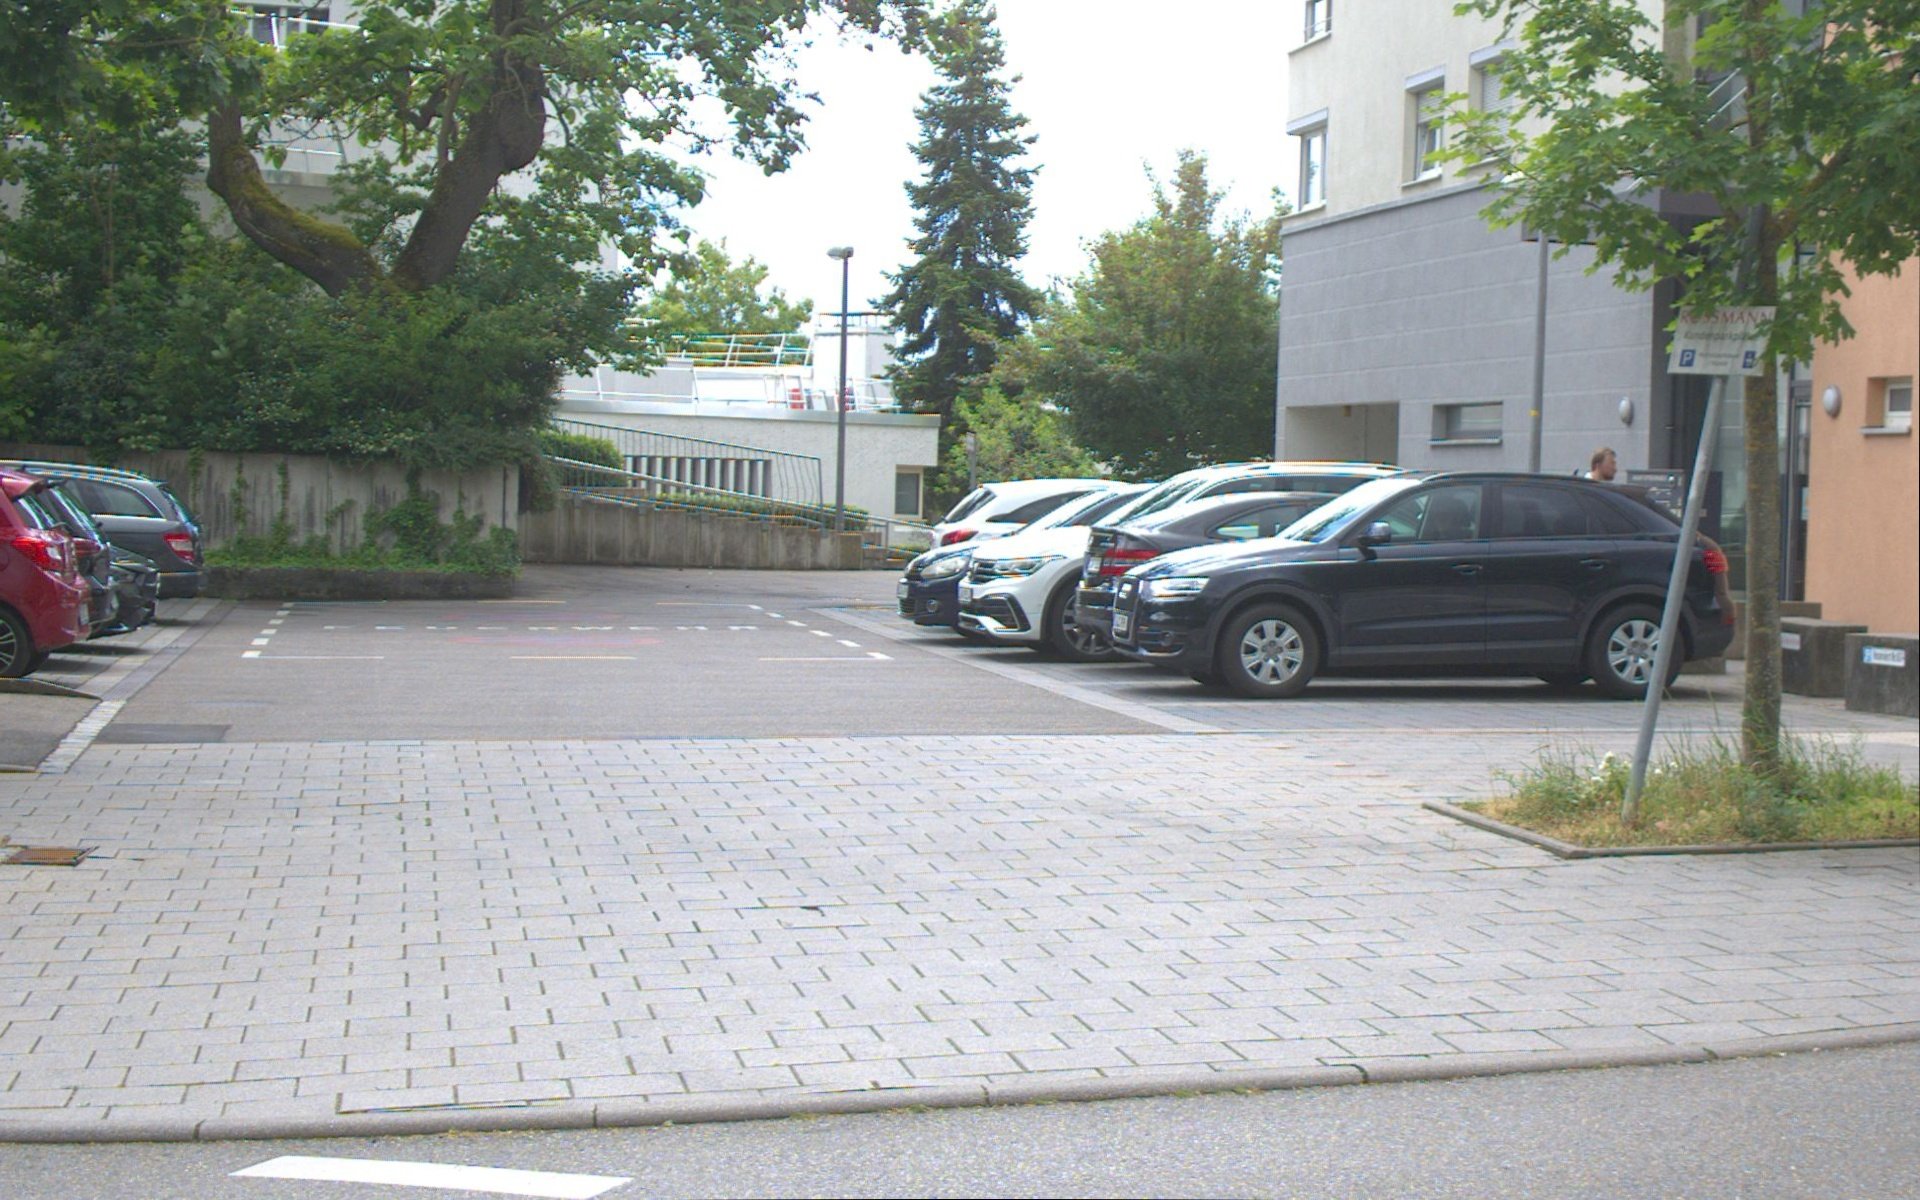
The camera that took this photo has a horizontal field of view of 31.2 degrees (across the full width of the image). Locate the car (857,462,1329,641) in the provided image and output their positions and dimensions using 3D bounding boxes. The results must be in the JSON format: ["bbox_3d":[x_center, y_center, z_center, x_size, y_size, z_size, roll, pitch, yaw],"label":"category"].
[{"bbox_3d":[1.171,-0.434,31.357,4.040,1.512,1.756,1,1,-7],"label":"car"}]

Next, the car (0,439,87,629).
[{"bbox_3d":[-9.625,-0.597,29.740,3.986,1.608,1.945,1,1,-15],"label":"car"}]

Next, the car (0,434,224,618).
[{"bbox_3d":[-9.341,-0.712,32.528,4.542,1.662,1.945,1,1,-15],"label":"car"}]

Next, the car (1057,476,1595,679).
[{"bbox_3d":[2.786,-0.173,26.600,3.826,1.454,1.693,1,1,-7],"label":"car"}]

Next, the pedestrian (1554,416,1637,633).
[{"bbox_3d":[5.485,-0.646,29.672,0.478,1.846,0.507,1,0,-20],"label":"pedestrian"}]

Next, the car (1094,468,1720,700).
[{"bbox_3d":[3.097,-0.113,24.272,4.040,1.512,1.756,1,1,-7],"label":"car"}]

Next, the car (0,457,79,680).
[{"bbox_3d":[-7.745,-0.237,22.707,3.648,1.434,1.685,1,1,-12],"label":"car"}]

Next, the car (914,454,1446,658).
[{"bbox_3d":[1.824,-0.354,28.906,4.118,1.588,1.693,1,1,-14],"label":"car"}]

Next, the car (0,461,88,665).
[{"bbox_3d":[-8.219,-0.294,24.532,3.786,1.417,1.685,1,1,-12],"label":"car"}]

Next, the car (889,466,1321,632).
[{"bbox_3d":[1.389,-0.494,33.816,3.980,1.512,1.757,1,1,-7],"label":"car"}]
